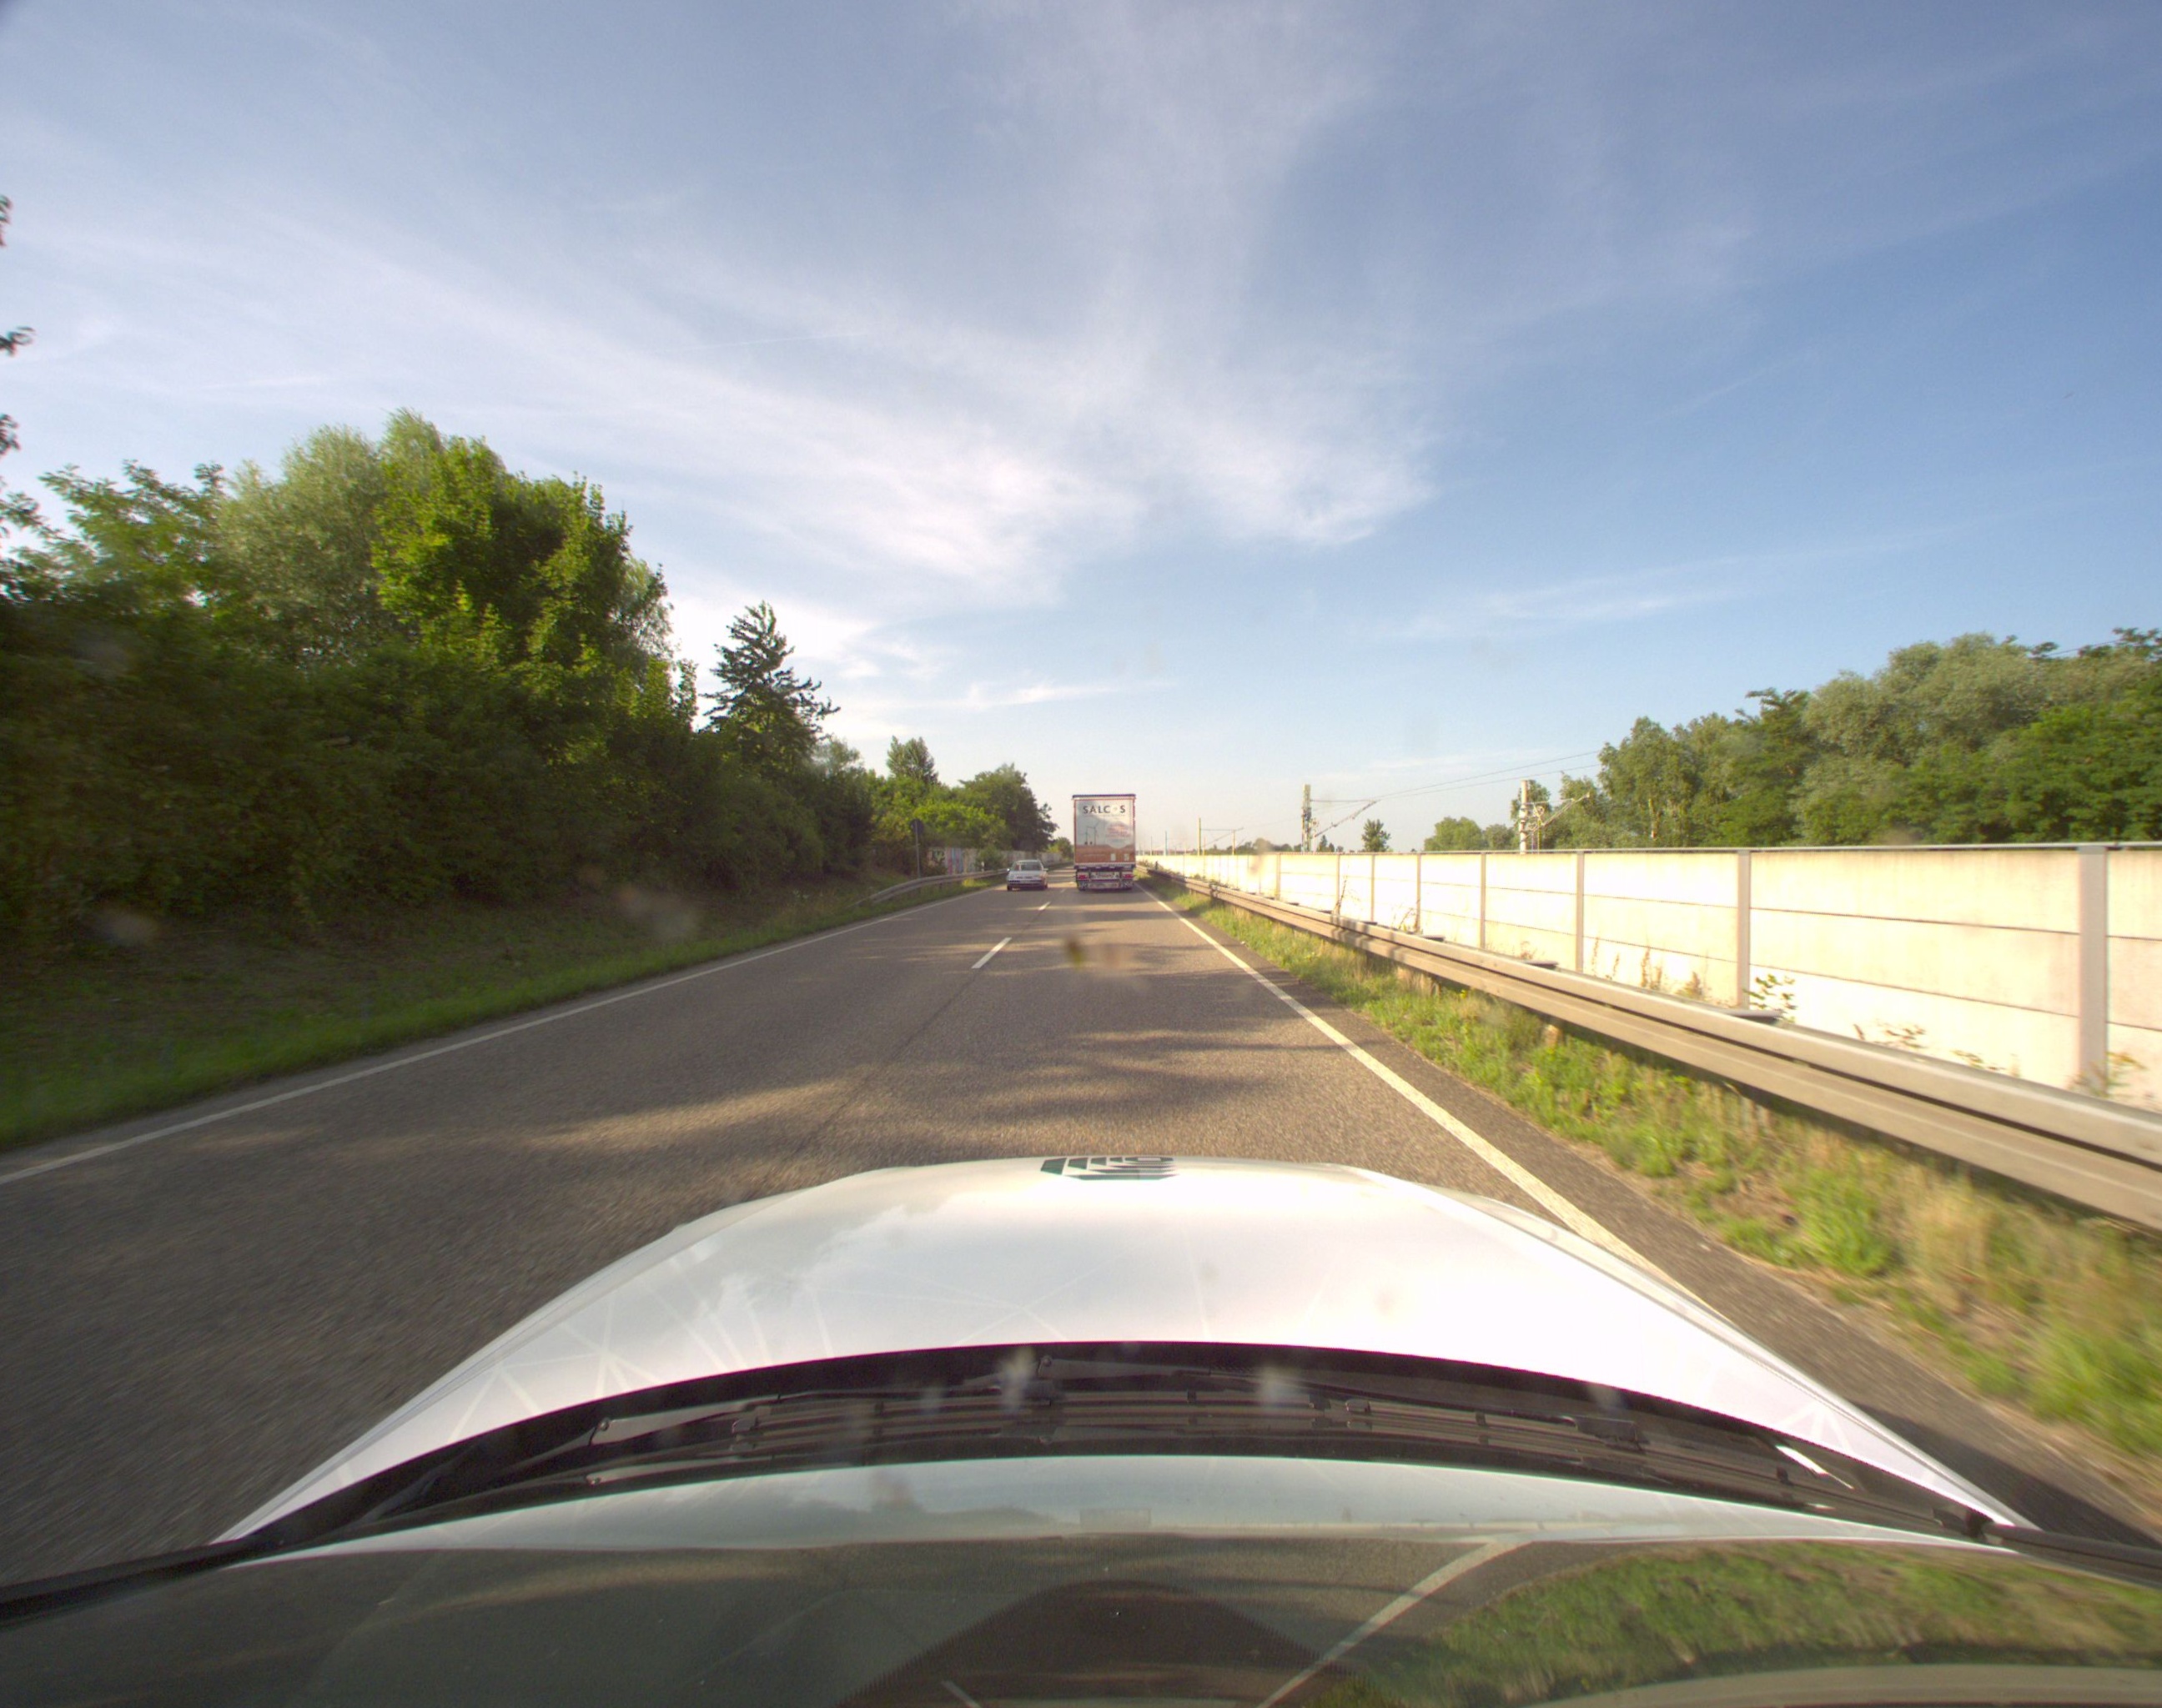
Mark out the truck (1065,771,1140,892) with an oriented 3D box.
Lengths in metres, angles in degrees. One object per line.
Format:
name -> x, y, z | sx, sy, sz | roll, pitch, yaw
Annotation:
truck -> 0.896, -0.907, 39.150 | 3.023, 4.920, 11.682 | -1, 0, 0

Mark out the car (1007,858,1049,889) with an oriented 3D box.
car -> -2.484, 0.897, 39.032 | 1.714, 1.394, 4.360 | -1, -1, 0
